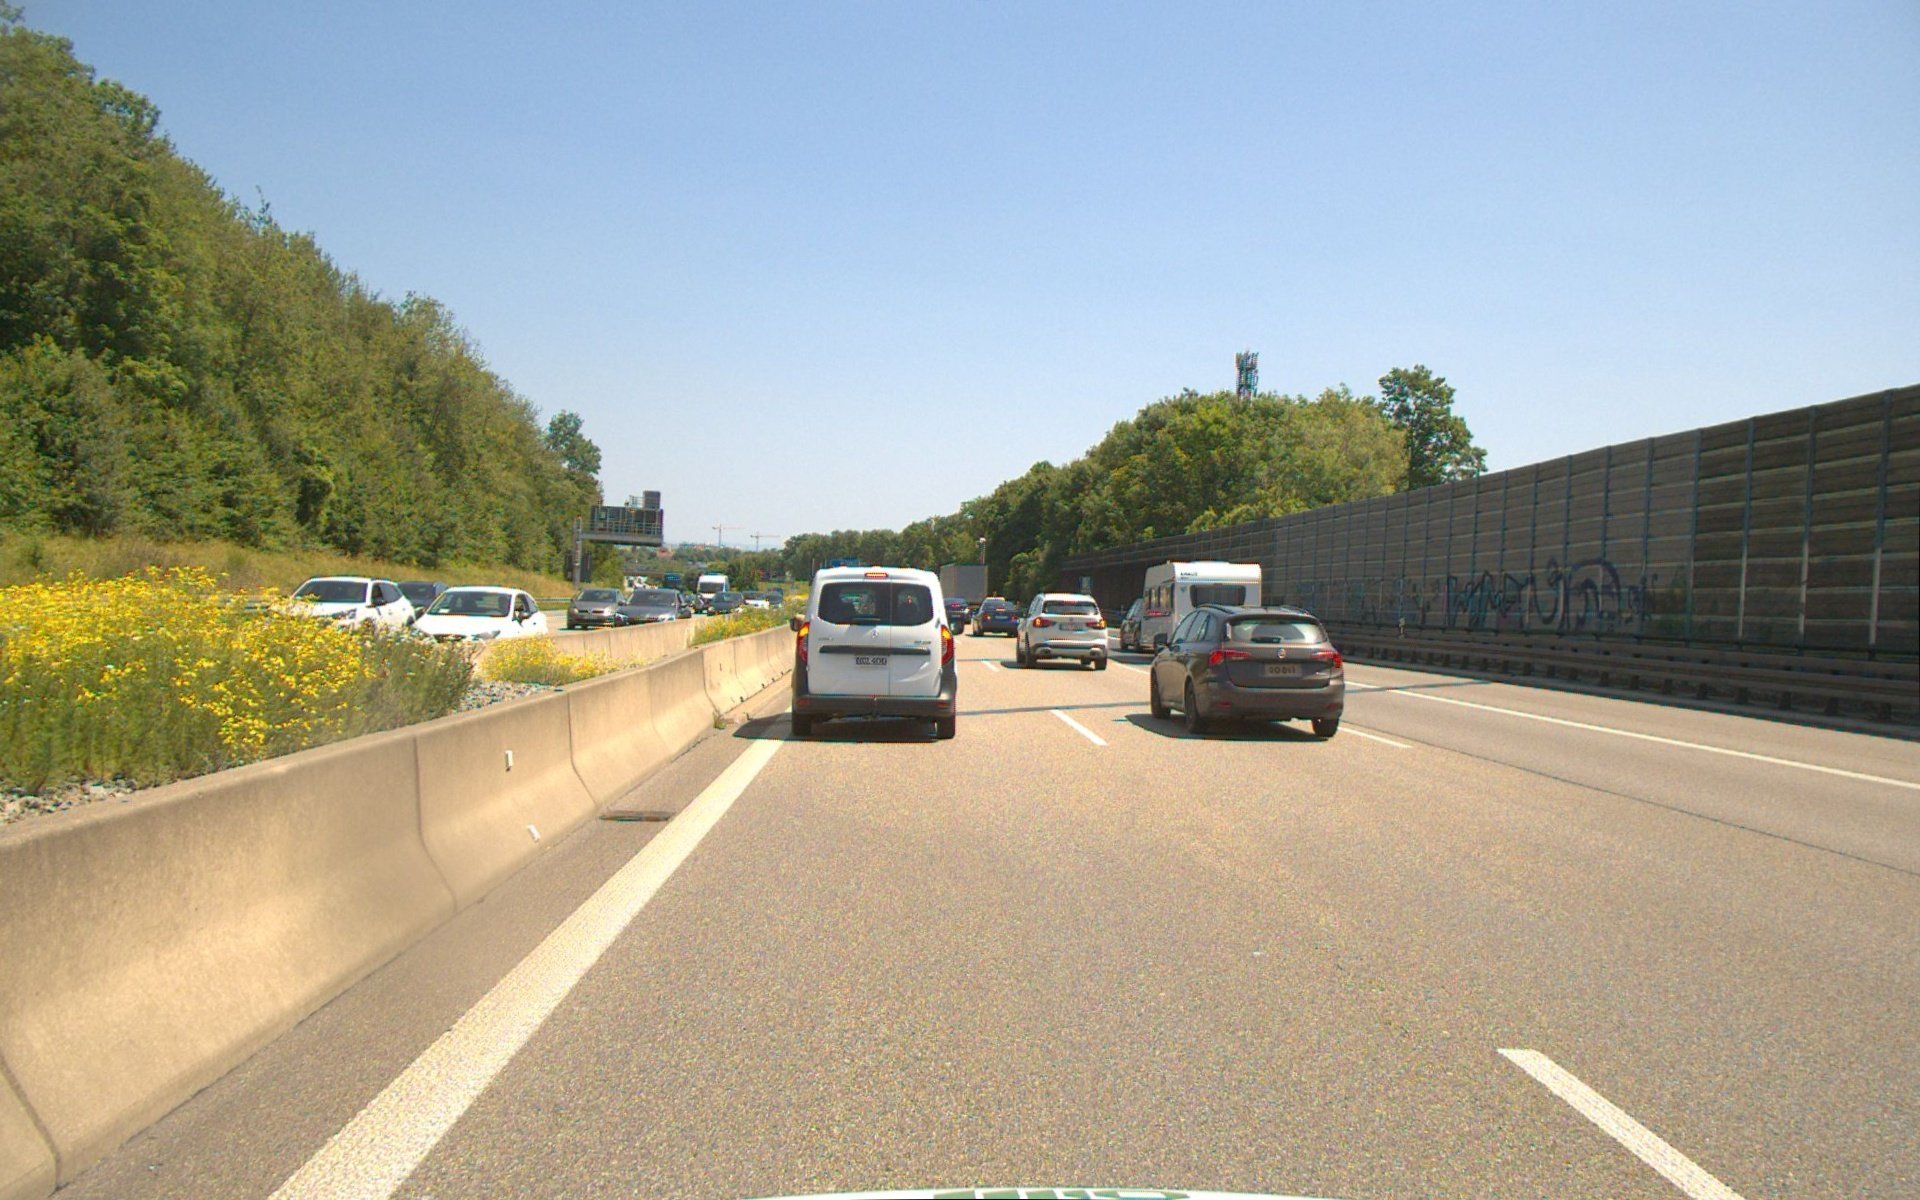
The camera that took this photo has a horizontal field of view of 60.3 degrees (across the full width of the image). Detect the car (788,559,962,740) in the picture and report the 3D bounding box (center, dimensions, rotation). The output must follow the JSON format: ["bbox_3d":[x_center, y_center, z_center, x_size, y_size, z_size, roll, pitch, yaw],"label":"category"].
[{"bbox_3d":[-0.902,0.505,19.043,1.766,1.839,3.999,1,0,-1],"label":"car"}]

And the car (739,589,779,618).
[{"bbox_3d":[-11.075,0.183,91.183,1.768,1.553,4.255,1,0,-2],"label":"car"}]

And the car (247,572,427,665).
[{"bbox_3d":[-11.320,0.308,30.333,1.805,1.573,3.999,1,0,-1],"label":"car"}]

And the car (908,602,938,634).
[{"bbox_3d":[-2.611,1.227,115.692,1.788,2.023,3.996,0,2,-5],"label":"car"}]

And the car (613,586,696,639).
[{"bbox_3d":[-8.538,0.326,46.568,1.697,1.430,4.609,0,0,-3],"label":"car"}]

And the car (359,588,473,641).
[{"bbox_3d":[-16.306,0.415,49.790,1.953,1.507,4.689,1,0,-1],"label":"car"}]

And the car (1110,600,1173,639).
[{"bbox_3d":[7.053,0.751,64.606,1.788,1.449,3.997,1,0,-3],"label":"car"}]

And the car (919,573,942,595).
[{"bbox_3d":[-2.916,-1.570,162.820,1.955,2.049,3.996,1,0,-5],"label":"car"}]

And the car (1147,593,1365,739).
[{"bbox_3d":[3.499,0.716,20.353,1.801,1.539,4.401,1,0,-1],"label":"car"}]

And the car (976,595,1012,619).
[{"bbox_3d":[2.136,0.412,104.362,1.788,1.449,3.996,1,0,-5],"label":"car"}]

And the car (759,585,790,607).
[{"bbox_3d":[-12.924,-0.276,115.564,1.838,1.435,4.410,1,0,-3],"label":"car"}]

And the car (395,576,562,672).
[{"bbox_3d":[-7.879,0.363,27.395,1.599,1.453,4.035,1,0,-1],"label":"car"}]

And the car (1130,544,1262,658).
[{"bbox_3d":[6.278,0.025,44.810,2.429,2.814,6.217,1,0,-2],"label":"car"}]

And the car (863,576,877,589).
[{"bbox_3d":[-13.285,-2.591,243.157,1.954,1.758,3.996,1,0,-5],"label":"car"}]

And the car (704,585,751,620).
[{"bbox_3d":[-10.270,0.086,73.176,1.632,1.453,3.855,1,0,-2],"label":"car"}]

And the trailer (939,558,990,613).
[{"bbox_3d":[0.248,-1.077,129.790,3.022,4.055,10.311,1,0,-5],"label":"trailer"}]

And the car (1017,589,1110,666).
[{"bbox_3d":[2.373,0.602,38.719,1.833,1.636,3.878,1,0,-1],"label":"car"}]

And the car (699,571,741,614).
[{"bbox_3d":[-16.240,-0.506,112.004,2.171,2.748,6.059,1,0,-3],"label":"car"}]

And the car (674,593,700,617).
[{"bbox_3d":[-24.474,0.469,148.415,1.954,2.049,3.996,1,0,-5],"label":"car"}]

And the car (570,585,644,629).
[{"bbox_3d":[-12.412,0.220,58.437,1.805,1.445,4.232,1,0,-2],"label":"car"}]

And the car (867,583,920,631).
[{"bbox_3d":[-2.749,0.286,67.987,1.955,1.892,3.996,1,0,-5],"label":"car"}]

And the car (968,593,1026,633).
[{"bbox_3d":[1.407,0.492,64.275,1.788,1.449,3.996,1,0,-5],"label":"car"}]

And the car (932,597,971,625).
[{"bbox_3d":[-0.480,0.595,91.045,1.788,1.449,3.996,1,0,-5],"label":"car"}]
